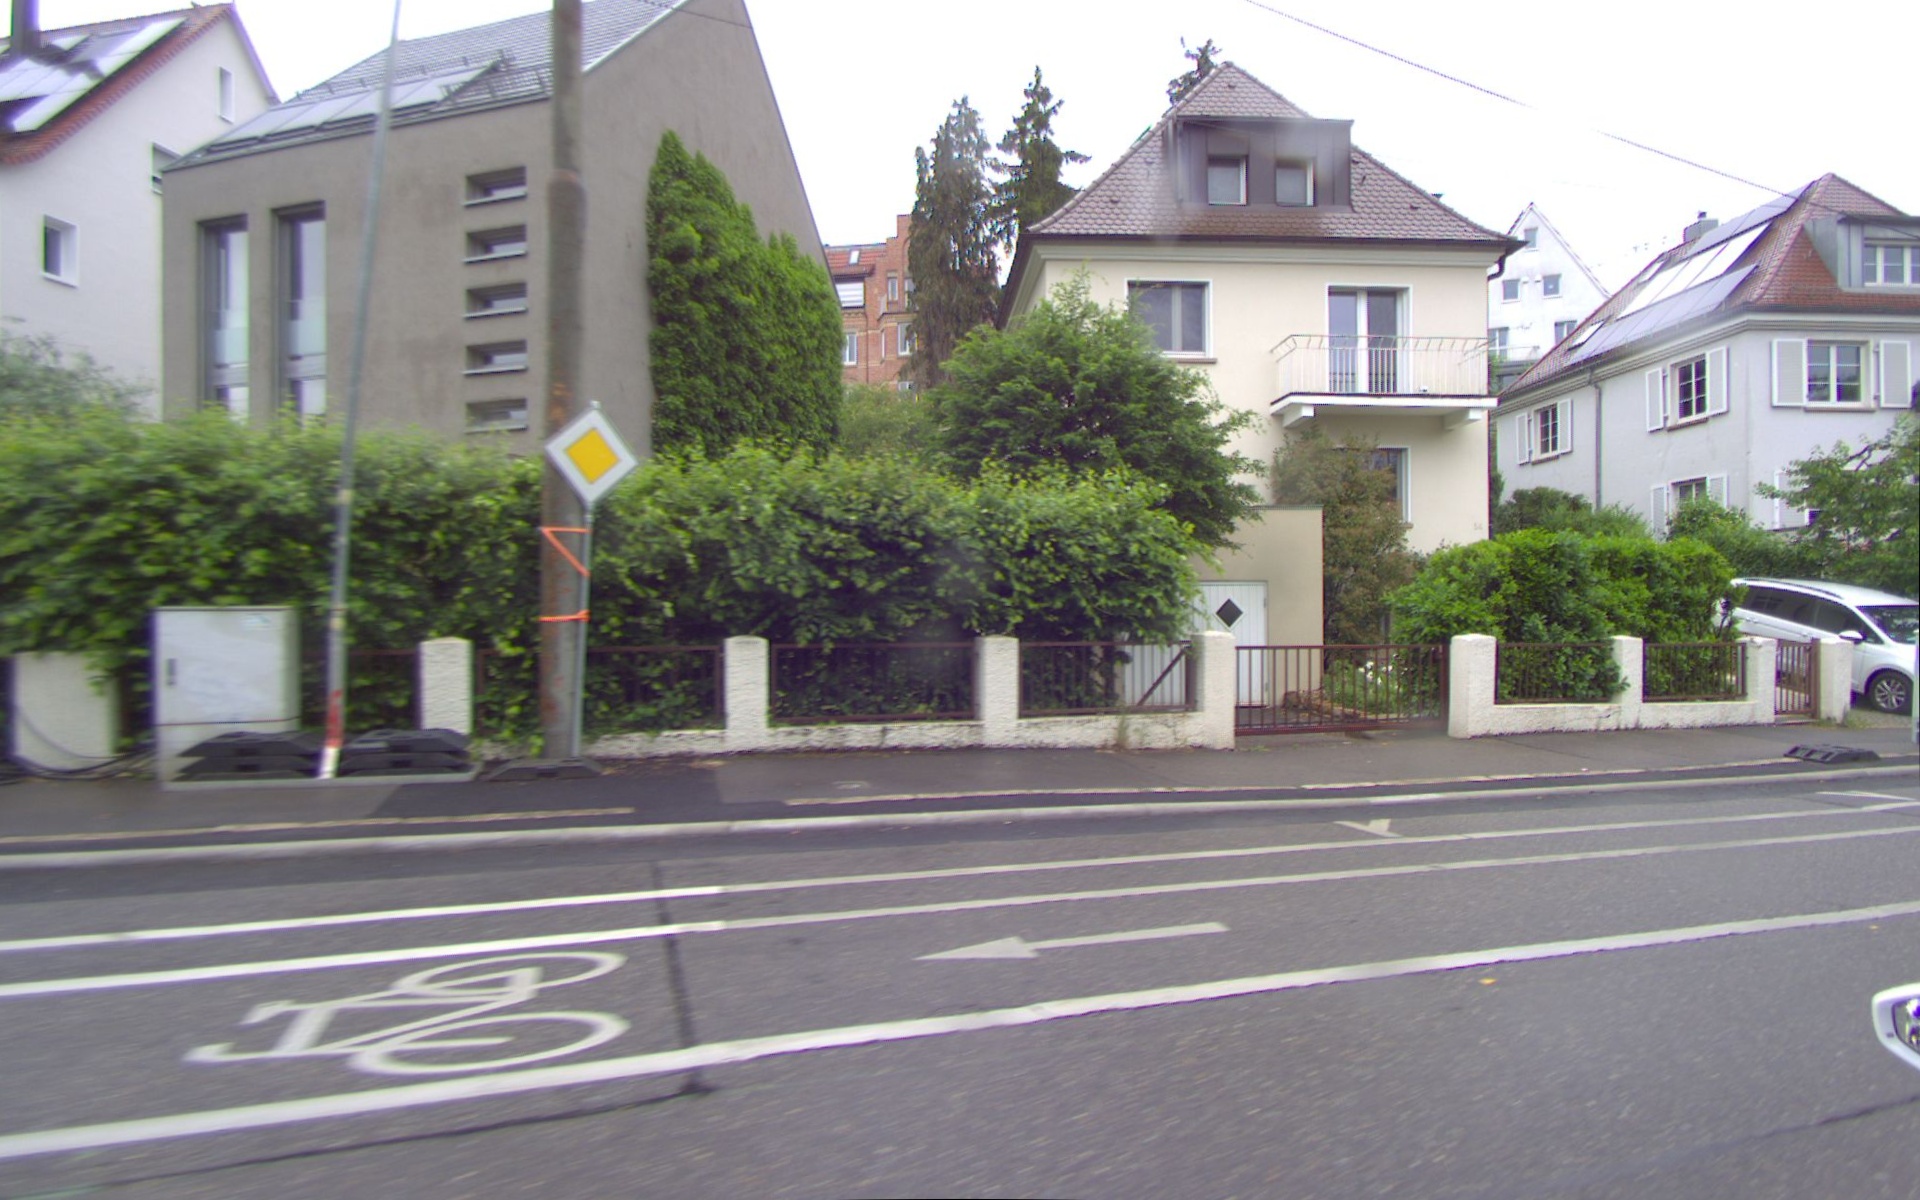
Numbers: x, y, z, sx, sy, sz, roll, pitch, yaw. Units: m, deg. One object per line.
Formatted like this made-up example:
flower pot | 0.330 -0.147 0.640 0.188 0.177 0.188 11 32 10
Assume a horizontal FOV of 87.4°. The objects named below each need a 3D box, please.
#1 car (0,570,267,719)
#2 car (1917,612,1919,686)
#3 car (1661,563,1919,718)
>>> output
car | -9.560 0.393 10.101 1.581 1.387 4.264 1 1 15
car | 21.324 1.075 19.236 1.905 1.546 3.994 2 0 -9
car | 14.700 0.541 16.837 1.829 1.640 4.969 0 10 -7
